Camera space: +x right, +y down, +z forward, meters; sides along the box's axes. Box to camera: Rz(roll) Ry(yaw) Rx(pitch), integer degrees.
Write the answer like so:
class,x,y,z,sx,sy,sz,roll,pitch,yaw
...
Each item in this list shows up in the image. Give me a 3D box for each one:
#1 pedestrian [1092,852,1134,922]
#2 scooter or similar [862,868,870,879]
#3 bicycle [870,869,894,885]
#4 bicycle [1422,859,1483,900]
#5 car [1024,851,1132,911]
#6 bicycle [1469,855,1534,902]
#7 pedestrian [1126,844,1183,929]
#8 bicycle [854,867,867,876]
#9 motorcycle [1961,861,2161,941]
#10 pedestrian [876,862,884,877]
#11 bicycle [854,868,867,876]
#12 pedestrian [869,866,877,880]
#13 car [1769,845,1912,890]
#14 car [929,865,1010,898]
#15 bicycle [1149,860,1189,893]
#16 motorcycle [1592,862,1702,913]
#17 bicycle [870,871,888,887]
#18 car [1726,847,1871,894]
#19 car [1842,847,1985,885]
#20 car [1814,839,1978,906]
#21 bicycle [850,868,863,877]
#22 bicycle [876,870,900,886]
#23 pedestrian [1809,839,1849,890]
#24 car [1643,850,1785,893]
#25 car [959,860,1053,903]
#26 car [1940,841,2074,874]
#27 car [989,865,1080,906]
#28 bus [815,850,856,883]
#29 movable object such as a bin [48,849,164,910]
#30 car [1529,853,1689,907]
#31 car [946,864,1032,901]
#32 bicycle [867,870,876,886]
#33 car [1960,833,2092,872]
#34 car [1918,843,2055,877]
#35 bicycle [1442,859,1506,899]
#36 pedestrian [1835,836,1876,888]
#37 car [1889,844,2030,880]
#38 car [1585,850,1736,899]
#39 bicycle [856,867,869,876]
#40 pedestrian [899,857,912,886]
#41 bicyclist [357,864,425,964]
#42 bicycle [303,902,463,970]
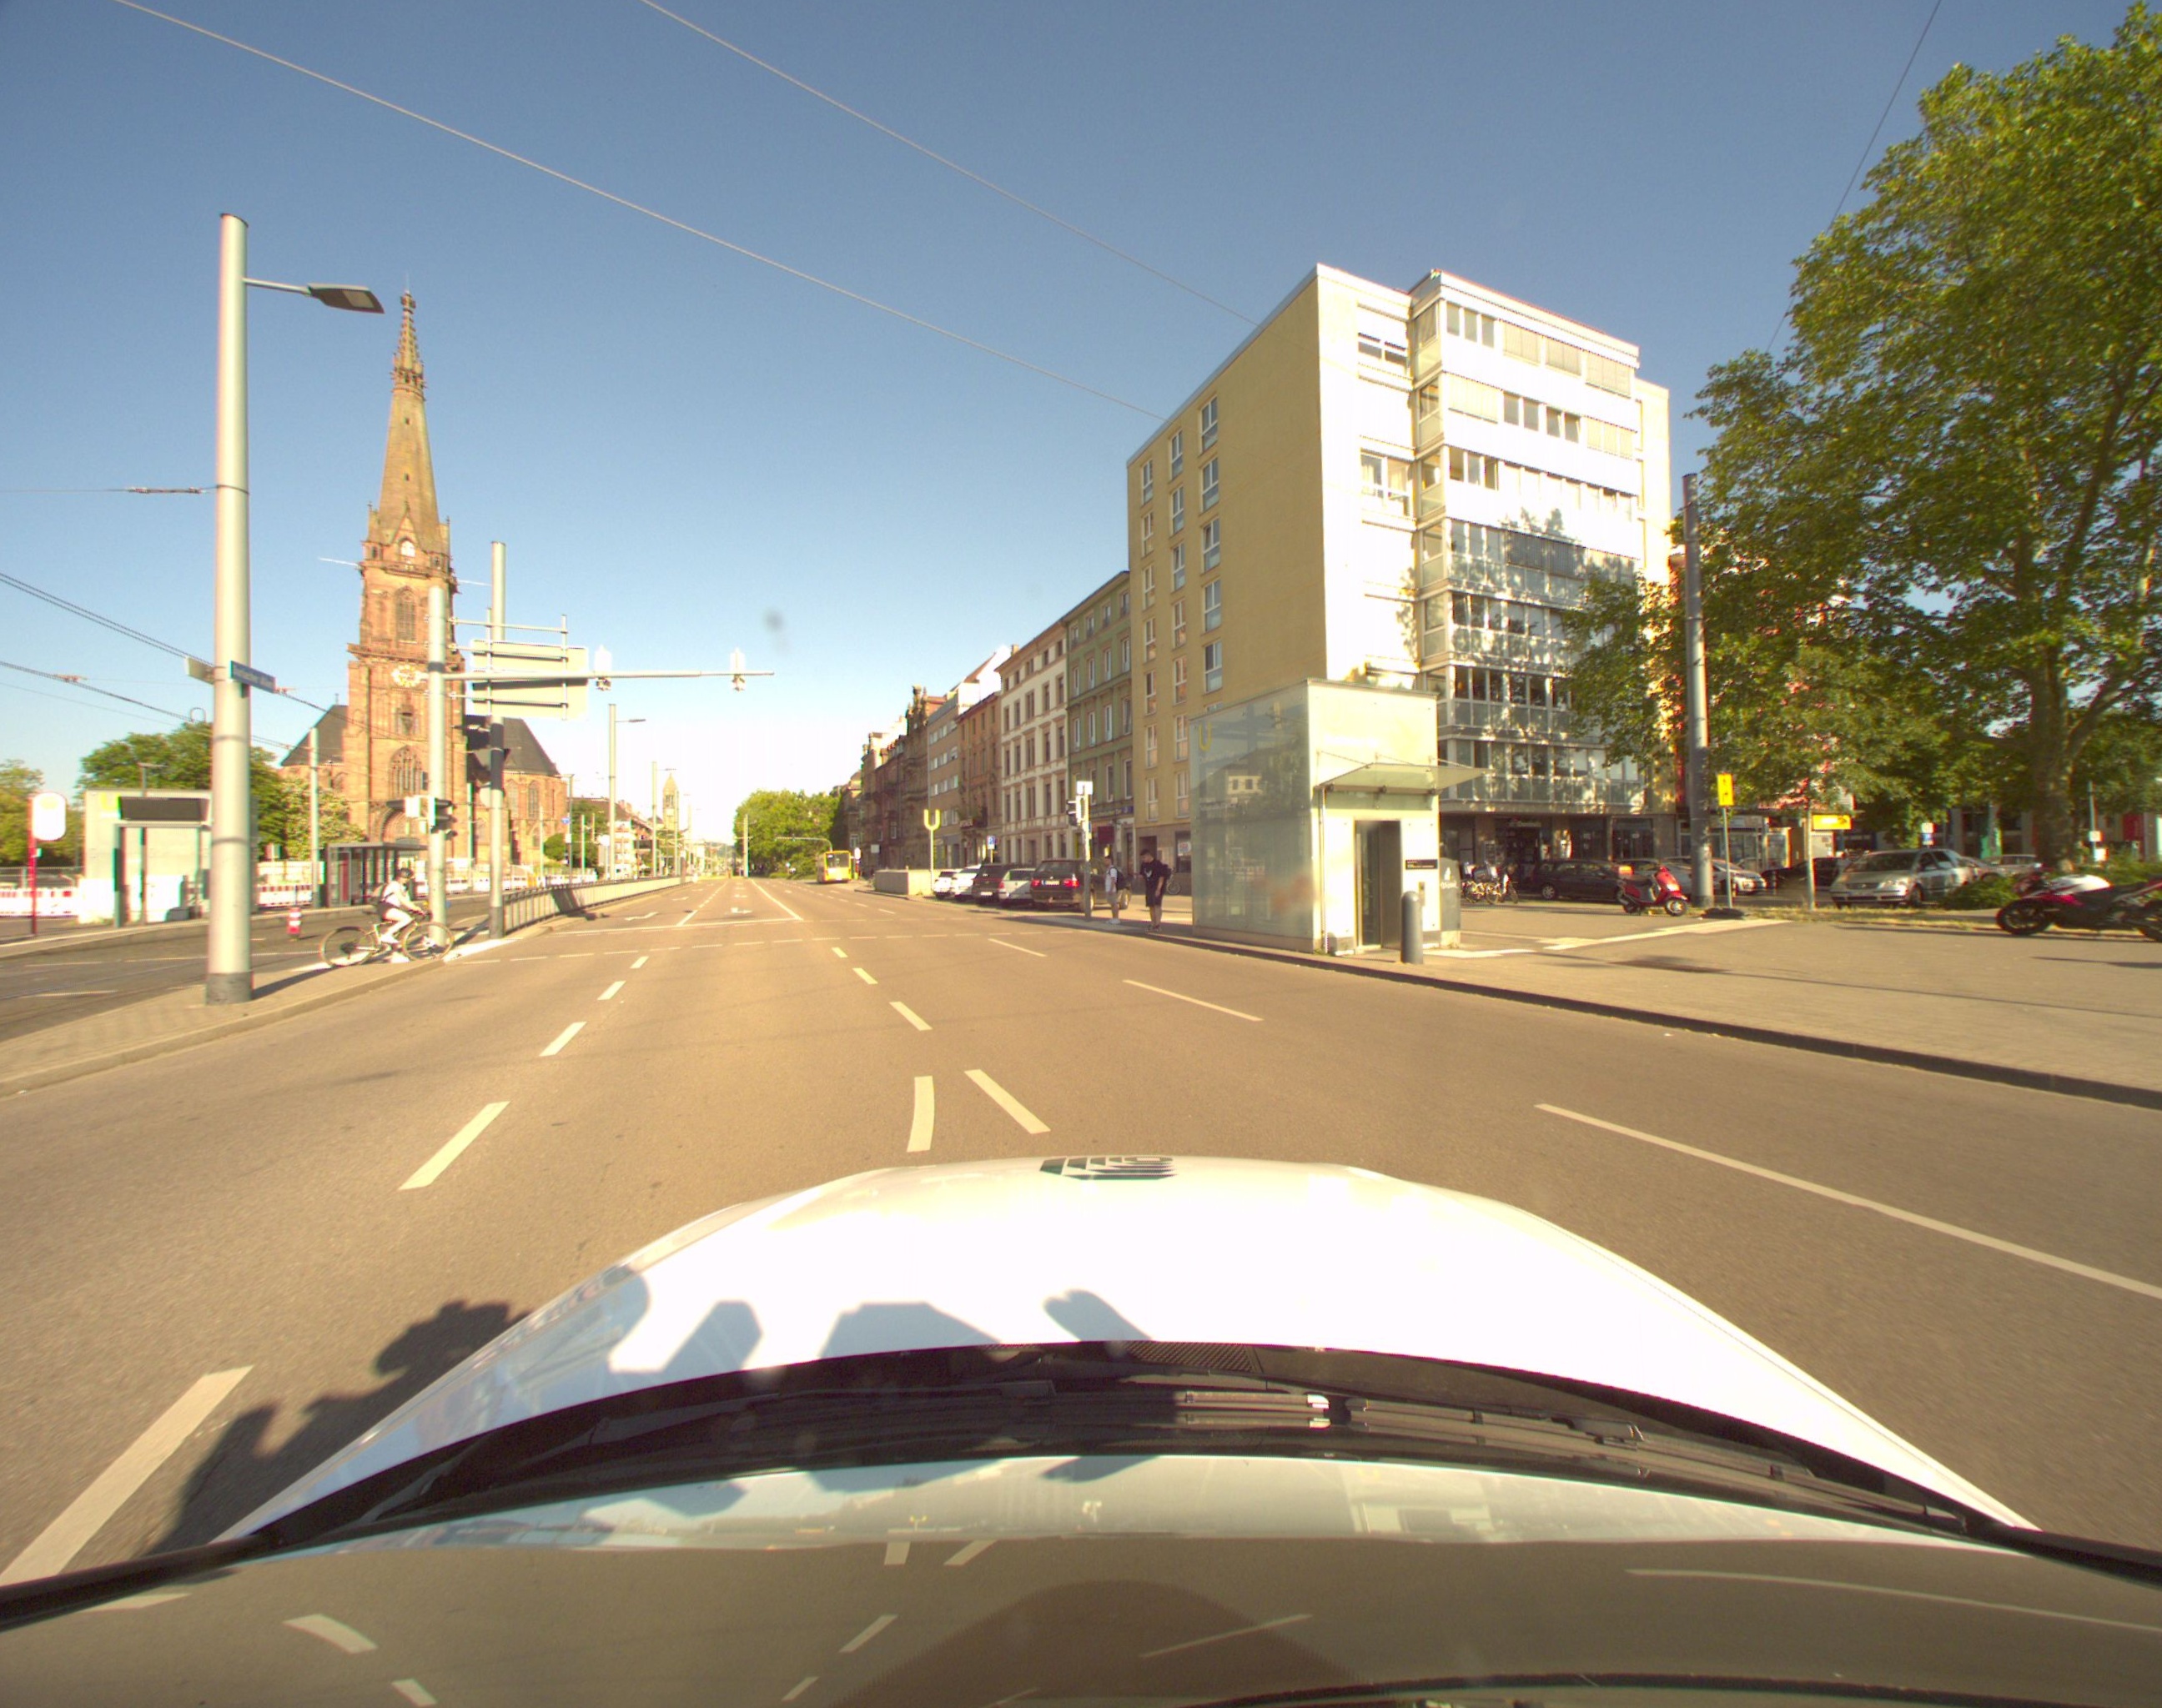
class,x,y,z,sx,sy,sz,roll,pitch,yaw
pedestrian,0.798,0.812,20.490,0.701,1.728,0.744,0,-1,-39
scooter or similar,-23.881,2.167,90.429,0.434,1.249,1.281,-2,-1,-32
bicycle,-15.699,1.827,64.323,1.773,1.187,0.466,0,0,-24
bicycle,12.570,0.848,27.523,2.004,1.248,0.808,-2,-1,-29
car,0.001,0.868,27.205,1.936,1.814,4.276,0,-1,26
bicycle,13.266,0.758,25.704,2.004,1.345,0.808,-2,-1,-29
pedestrian,1.536,0.668,17.042,0.858,1.728,0.800,-2,-1,35
bicycle,-34.860,2.780,128.504,1.897,1.239,0.485,-2,-2,-36
motorcycle,14.949,0.671,12.236,1.046,1.074,2.256,-2,1,-38
pedestrian,-26.600,2.078,108.009,0.825,1.930,1.128,-1,-1,-23
bicycle,-34.603,2.797,127.979,1.897,1.239,0.485,-2,-2,-36
pedestrian,-27.607,2.507,108.048,0.825,1.930,1.128,-1,-1,-23
car,31.676,0.509,34.116,1.858,1.635,3.971,-2,2,-22
car,-5.361,1.306,39.714,1.937,1.464,4.137,-1,-1,26
bicycle,4.033,1.035,37.514,0.933,1.357,2.215,-2,2,-19
motorcycle,12.697,0.753,18.335,0.882,1.046,1.789,-2,-1,-25
bicycle,-14.788,1.810,59.561,1.748,1.147,0.473,0,0,44
car,28.714,0.610,32.726,1.858,1.635,3.971,-2,2,-22
car,36.225,0.458,35.564,1.858,1.420,3.971,-2,2,-22
car,23.451,0.540,23.439,4.004,1.698,1.907,-2,-2,-23
bicycle,-35.612,2.950,129.279,1.897,1.239,0.485,-2,-2,-36
bicycle,-14.708,1.824,62.024,1.773,1.187,0.466,0,0,-24
pedestrian,27.817,0.394,30.283,0.832,1.866,0.748,-1,-1,-20
car,24.559,0.631,31.761,1.858,1.420,3.971,-2,2,-22
car,-2.932,1.059,32.849,1.936,1.598,4.274,0,-1,24
car,45.546,0.129,40.162,1.858,1.420,3.971,-2,2,-22
car,-1.629,1.145,29.877,1.767,1.400,3.913,0,-2,23
bus,-26.128,1.344,86.267,2.727,3.181,12.444,-2,0,-23
movable object such as a bin,-46.122,1.103,38.690,2.649,2.525,5.109,-3,3,-41
car,17.690,0.810,27.504,1.860,1.482,4.192,-2,2,-26
car,-4.024,1.232,36.332,1.937,1.570,4.274,0,-1,23
bicycle,-15.938,1.825,61.972,0.470,1.147,1.757,0,0,-23
car,47.355,-0.109,40.918,1.858,1.779,3.971,-2,2,-22
car,43.031,0.222,38.820,1.858,1.420,3.971,-2,2,-22
bicycle,12.840,0.802,26.597,2.004,1.200,0.808,-2,-1,-29
pedestrian,28.057,0.287,29.490,0.832,1.866,0.748,-1,-1,-20
car,39.954,0.336,37.156,1.858,1.420,3.971,-2,2,-22
car,20.268,0.653,28.663,1.858,1.420,3.971,-2,2,-22
bicycle,-34.069,2.724,126.963,1.897,1.239,0.485,-2,-2,-36
pedestrian,-12.678,1.254,58.759,0.754,2.013,0.693,-2,2,-23
bicyclist,-11.675,0.989,13.795,0.678,1.616,0.808,-2,-1,-28
bicycle,-11.717,1.357,13.764,1.900,0.942,0.808,-2,-1,-28
